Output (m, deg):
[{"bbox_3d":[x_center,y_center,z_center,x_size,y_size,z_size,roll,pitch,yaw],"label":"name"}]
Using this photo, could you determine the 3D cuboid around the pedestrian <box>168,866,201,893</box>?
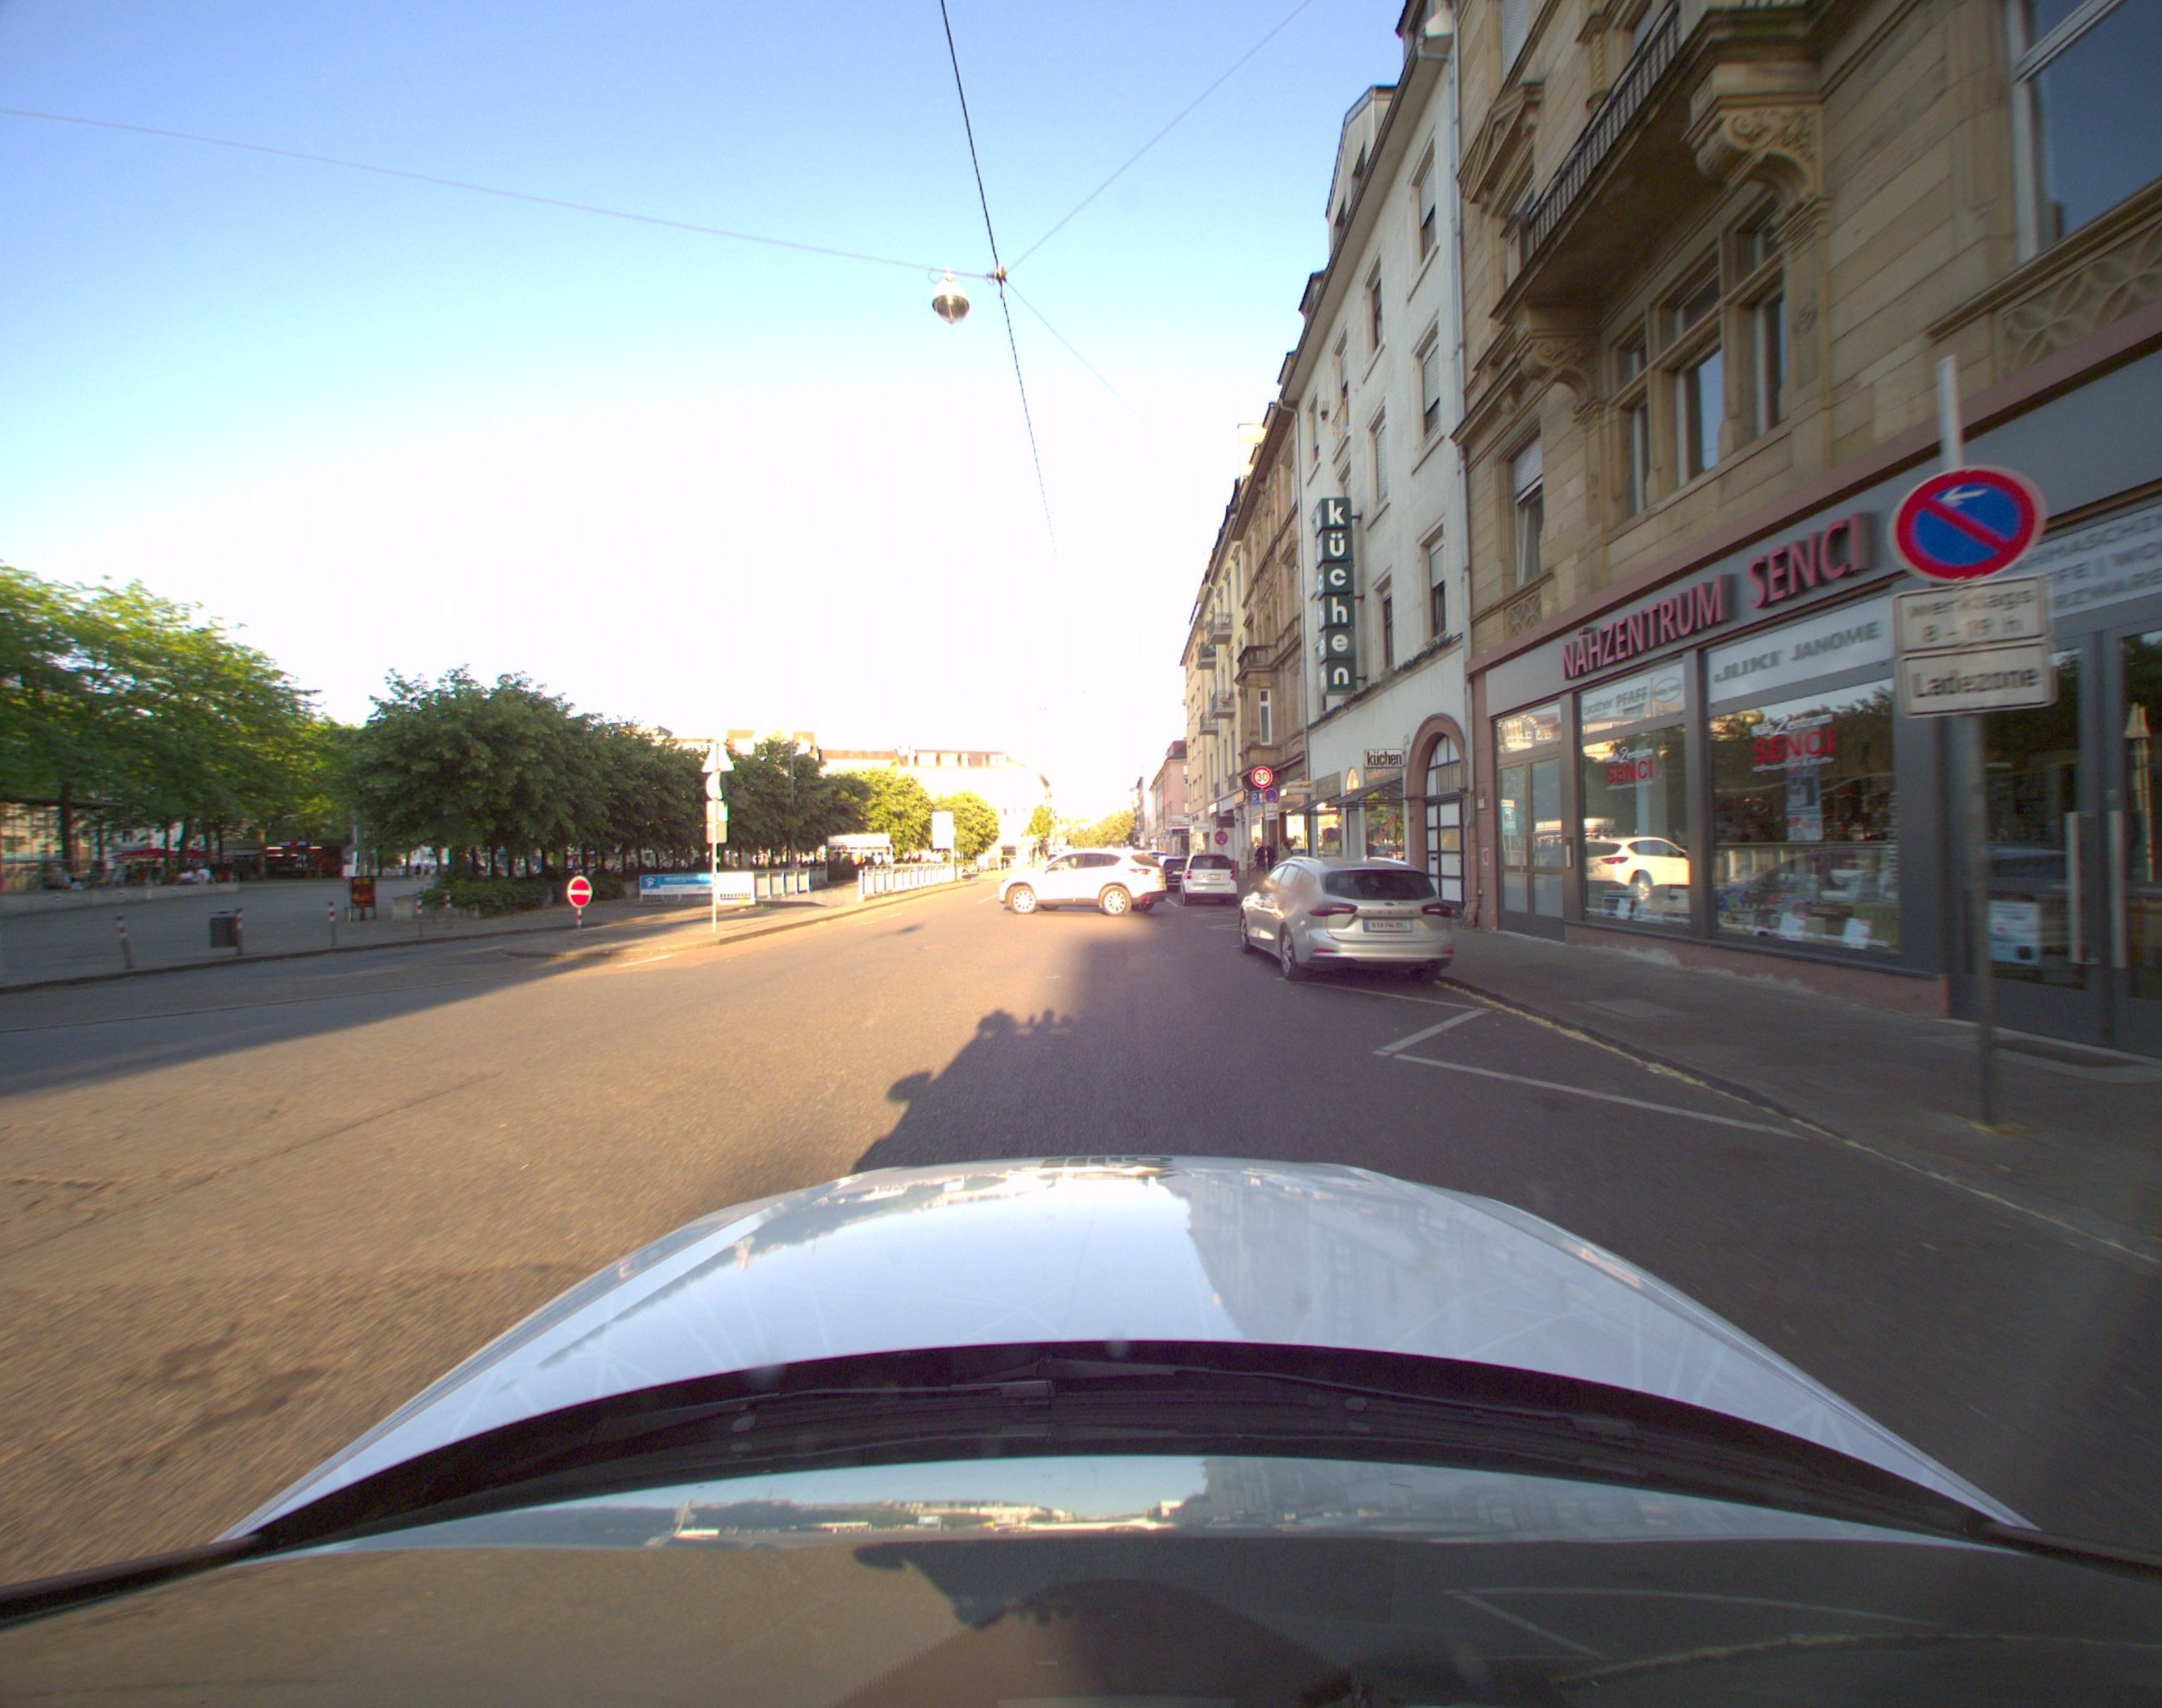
[{"bbox_3d":[-36.940,1.043,33.553,0.716,1.059,0.606,-1,0,-24],"label":"pedestrian"}]

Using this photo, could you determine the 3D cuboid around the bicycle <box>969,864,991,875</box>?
[{"bbox_3d":[-8.802,1.346,70.767,1.820,0.853,0.483,2,0,-2],"label":"bicycle"}]

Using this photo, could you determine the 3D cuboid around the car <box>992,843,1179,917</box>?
[{"bbox_3d":[0.111,0.656,21.291,4.410,1.761,2.012,-1,0,26],"label":"car"}]

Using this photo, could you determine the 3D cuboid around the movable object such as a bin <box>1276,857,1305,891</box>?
[{"bbox_3d":[6.952,0.648,27.044,0.771,1.070,0.618,-3,0,1],"label":"movable object such as a bin"}]

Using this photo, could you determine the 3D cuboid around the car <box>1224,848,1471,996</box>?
[{"bbox_3d":[3.249,0.739,11.025,1.753,1.536,4.820,1,0,0],"label":"car"}]

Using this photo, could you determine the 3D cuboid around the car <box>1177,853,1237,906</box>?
[{"bbox_3d":[3.829,0.755,25.147,1.525,1.536,3.286,0,-1,3],"label":"car"}]

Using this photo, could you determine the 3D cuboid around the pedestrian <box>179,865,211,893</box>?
[{"bbox_3d":[-37.245,1.038,34.243,0.716,1.120,0.606,-1,0,-24],"label":"pedestrian"}]

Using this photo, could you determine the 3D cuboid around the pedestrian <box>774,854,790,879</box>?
[{"bbox_3d":[-18.860,0.774,51.319,0.672,1.595,0.680,0,0,21],"label":"pedestrian"}]

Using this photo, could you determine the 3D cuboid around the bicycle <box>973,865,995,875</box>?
[{"bbox_3d":[-8.291,1.361,69.844,1.820,0.853,0.483,2,0,-2],"label":"bicycle"}]

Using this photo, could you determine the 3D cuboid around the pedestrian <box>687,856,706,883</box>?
[{"bbox_3d":[-22.528,0.911,47.709,0.783,1.595,0.571,0,0,21],"label":"pedestrian"}]

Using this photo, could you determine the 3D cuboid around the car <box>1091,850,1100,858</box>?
[{"bbox_3d":[2.952,-0.035,167.305,1.773,1.547,4.001,-1,0,1],"label":"car"}]

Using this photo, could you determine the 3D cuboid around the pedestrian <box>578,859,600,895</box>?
[{"bbox_3d":[-22.290,1.043,36.929,0.703,1.595,0.673,0,0,-17],"label":"pedestrian"}]

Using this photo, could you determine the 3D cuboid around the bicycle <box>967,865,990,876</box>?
[{"bbox_3d":[-8.572,1.357,68.046,1.820,0.853,0.483,2,0,-2],"label":"bicycle"}]

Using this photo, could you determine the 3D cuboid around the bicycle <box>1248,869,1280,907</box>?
[{"bbox_3d":[5.281,0.973,23.634,0.502,1.016,1.947,-1,0,1],"label":"bicycle"}]

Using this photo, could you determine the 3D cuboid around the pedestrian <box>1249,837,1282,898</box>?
[{"bbox_3d":[5.794,0.419,25.632,0.770,1.827,1.011,-3,0,1],"label":"pedestrian"}]

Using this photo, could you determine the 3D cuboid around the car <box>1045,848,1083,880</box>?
[{"bbox_3d":[-0.894,0.505,44.668,1.890,1.649,4.105,-1,0,1],"label":"car"}]

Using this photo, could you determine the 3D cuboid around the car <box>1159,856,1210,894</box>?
[{"bbox_3d":[4.220,0.819,33.736,1.723,1.448,4.526,1,0,2],"label":"car"}]

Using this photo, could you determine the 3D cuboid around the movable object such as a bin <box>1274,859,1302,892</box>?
[{"bbox_3d":[7.047,0.735,27.779,0.771,1.070,0.618,-3,0,1],"label":"movable object such as a bin"}]

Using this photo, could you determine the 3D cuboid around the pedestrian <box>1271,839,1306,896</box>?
[{"bbox_3d":[6.530,0.410,25.680,0.770,1.711,1.042,-3,0,1],"label":"pedestrian"}]

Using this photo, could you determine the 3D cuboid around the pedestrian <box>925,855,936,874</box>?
[{"bbox_3d":[-13.205,0.921,71.549,0.783,1.595,0.571,0,0,21],"label":"pedestrian"}]

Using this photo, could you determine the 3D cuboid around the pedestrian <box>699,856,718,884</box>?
[{"bbox_3d":[-21.638,0.934,47.315,0.783,1.595,0.571,0,0,21],"label":"pedestrian"}]

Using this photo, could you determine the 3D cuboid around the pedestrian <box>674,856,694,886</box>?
[{"bbox_3d":[-21.922,0.932,44.975,0.783,1.595,0.571,0,0,21],"label":"pedestrian"}]

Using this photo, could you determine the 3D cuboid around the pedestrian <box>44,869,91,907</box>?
[{"bbox_3d":[-35.046,1.175,28.174,0.792,1.279,0.649,-1,-2,-24],"label":"pedestrian"}]

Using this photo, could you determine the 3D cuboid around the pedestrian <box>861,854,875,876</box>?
[{"bbox_3d":[-16.115,0.832,61.583,0.783,1.595,0.571,0,0,21],"label":"pedestrian"}]

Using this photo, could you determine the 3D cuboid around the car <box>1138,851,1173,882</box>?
[{"bbox_3d":[4.079,0.674,45.024,1.723,1.651,4.286,1,0,2],"label":"car"}]

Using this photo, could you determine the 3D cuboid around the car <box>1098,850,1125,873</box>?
[{"bbox_3d":[2.226,0.538,59.310,1.890,1.581,4.001,1,0,1],"label":"car"}]

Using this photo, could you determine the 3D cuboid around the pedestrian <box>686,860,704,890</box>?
[{"bbox_3d":[-21.121,1.131,44.582,0.672,1.595,0.571,0,0,21],"label":"pedestrian"}]
